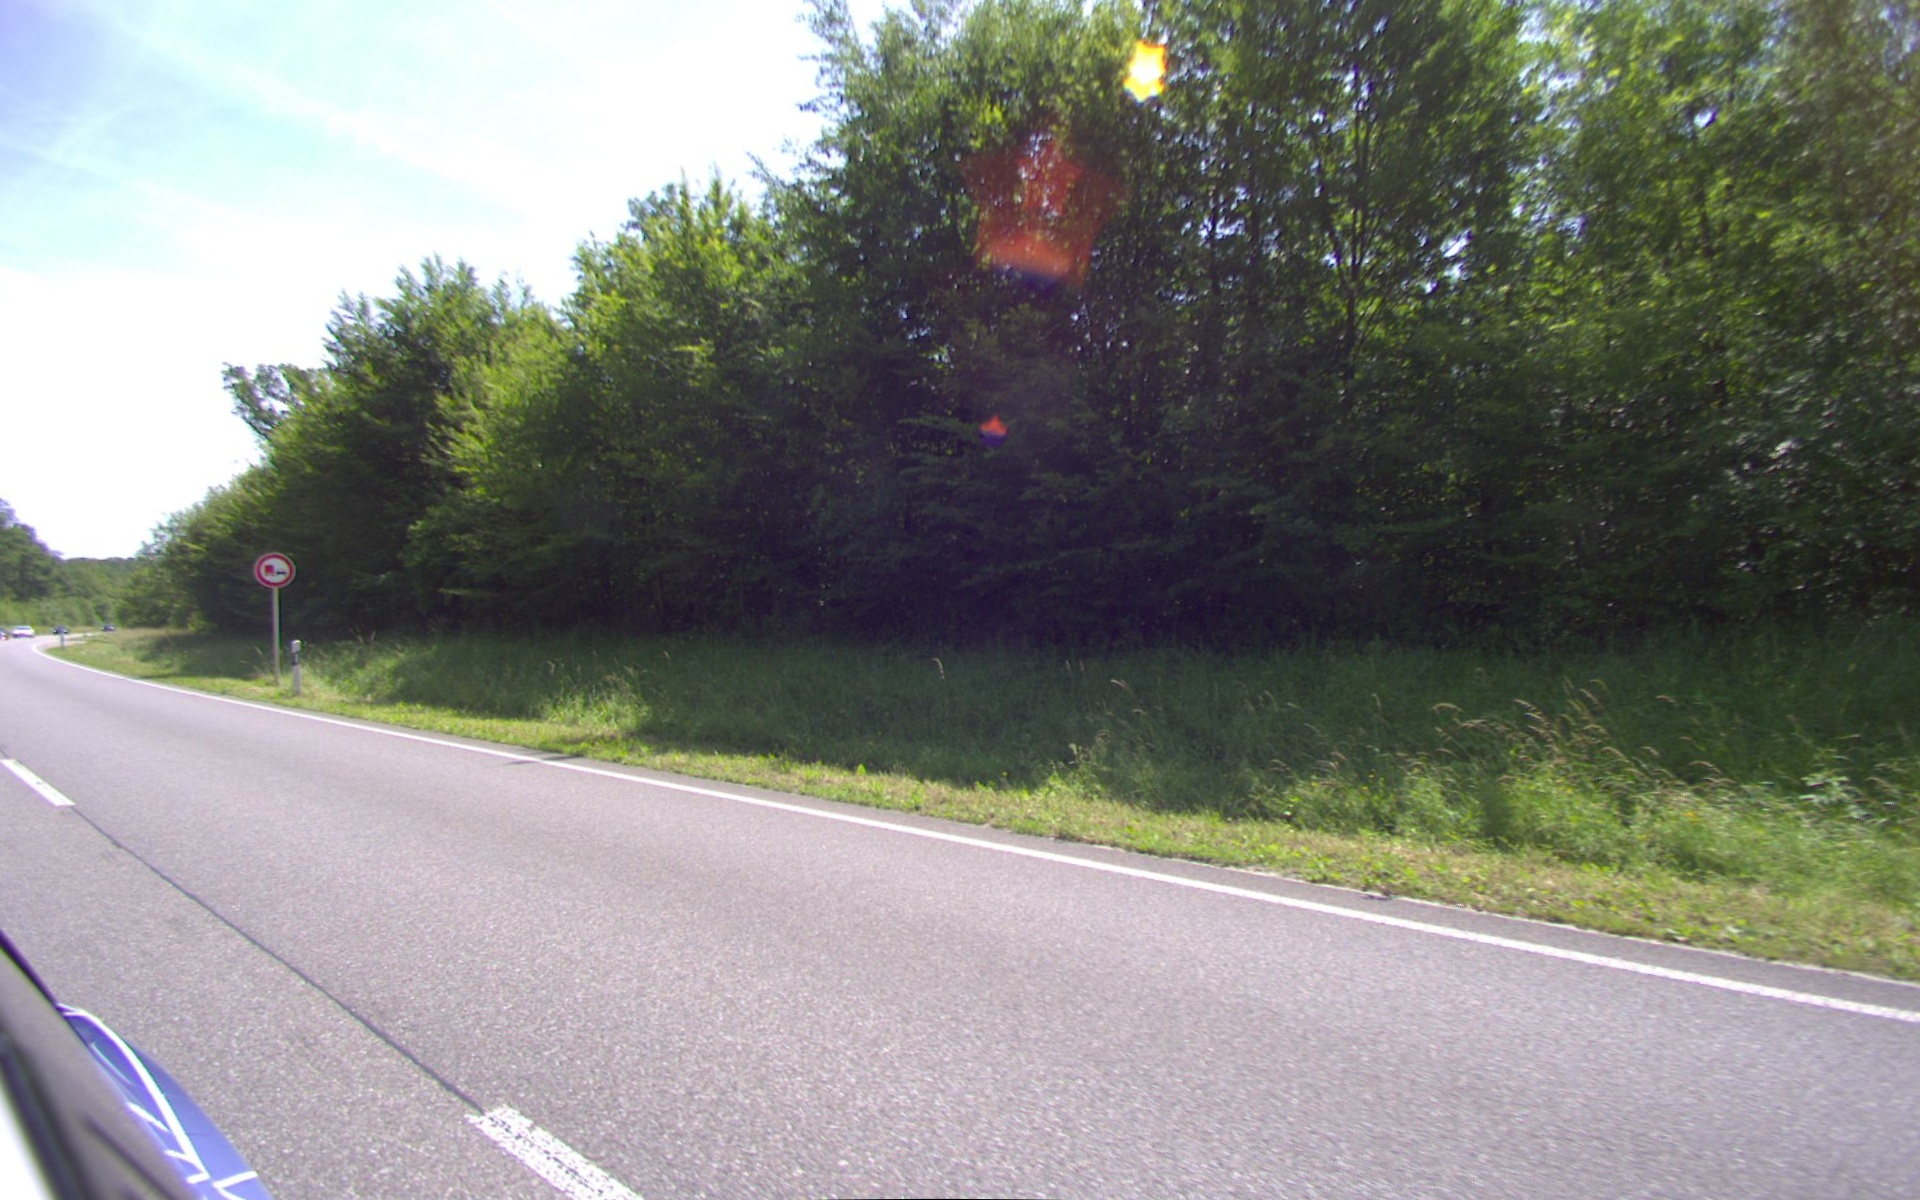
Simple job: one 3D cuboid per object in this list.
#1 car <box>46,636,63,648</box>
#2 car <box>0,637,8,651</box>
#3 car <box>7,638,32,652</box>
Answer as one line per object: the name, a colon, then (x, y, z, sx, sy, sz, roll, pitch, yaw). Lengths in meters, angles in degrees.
car: (-144.088, 6.646, 161.057, 1.667, 1.741, 4.008, 1, -1, -39)
car: (-107.087, 4.908, 112.285, 1.749, 1.474, 4.008, 1, -2, -38)
car: (-123.763, 5.932, 133.246, 1.988, 1.761, 4.389, 1, -2, -38)
